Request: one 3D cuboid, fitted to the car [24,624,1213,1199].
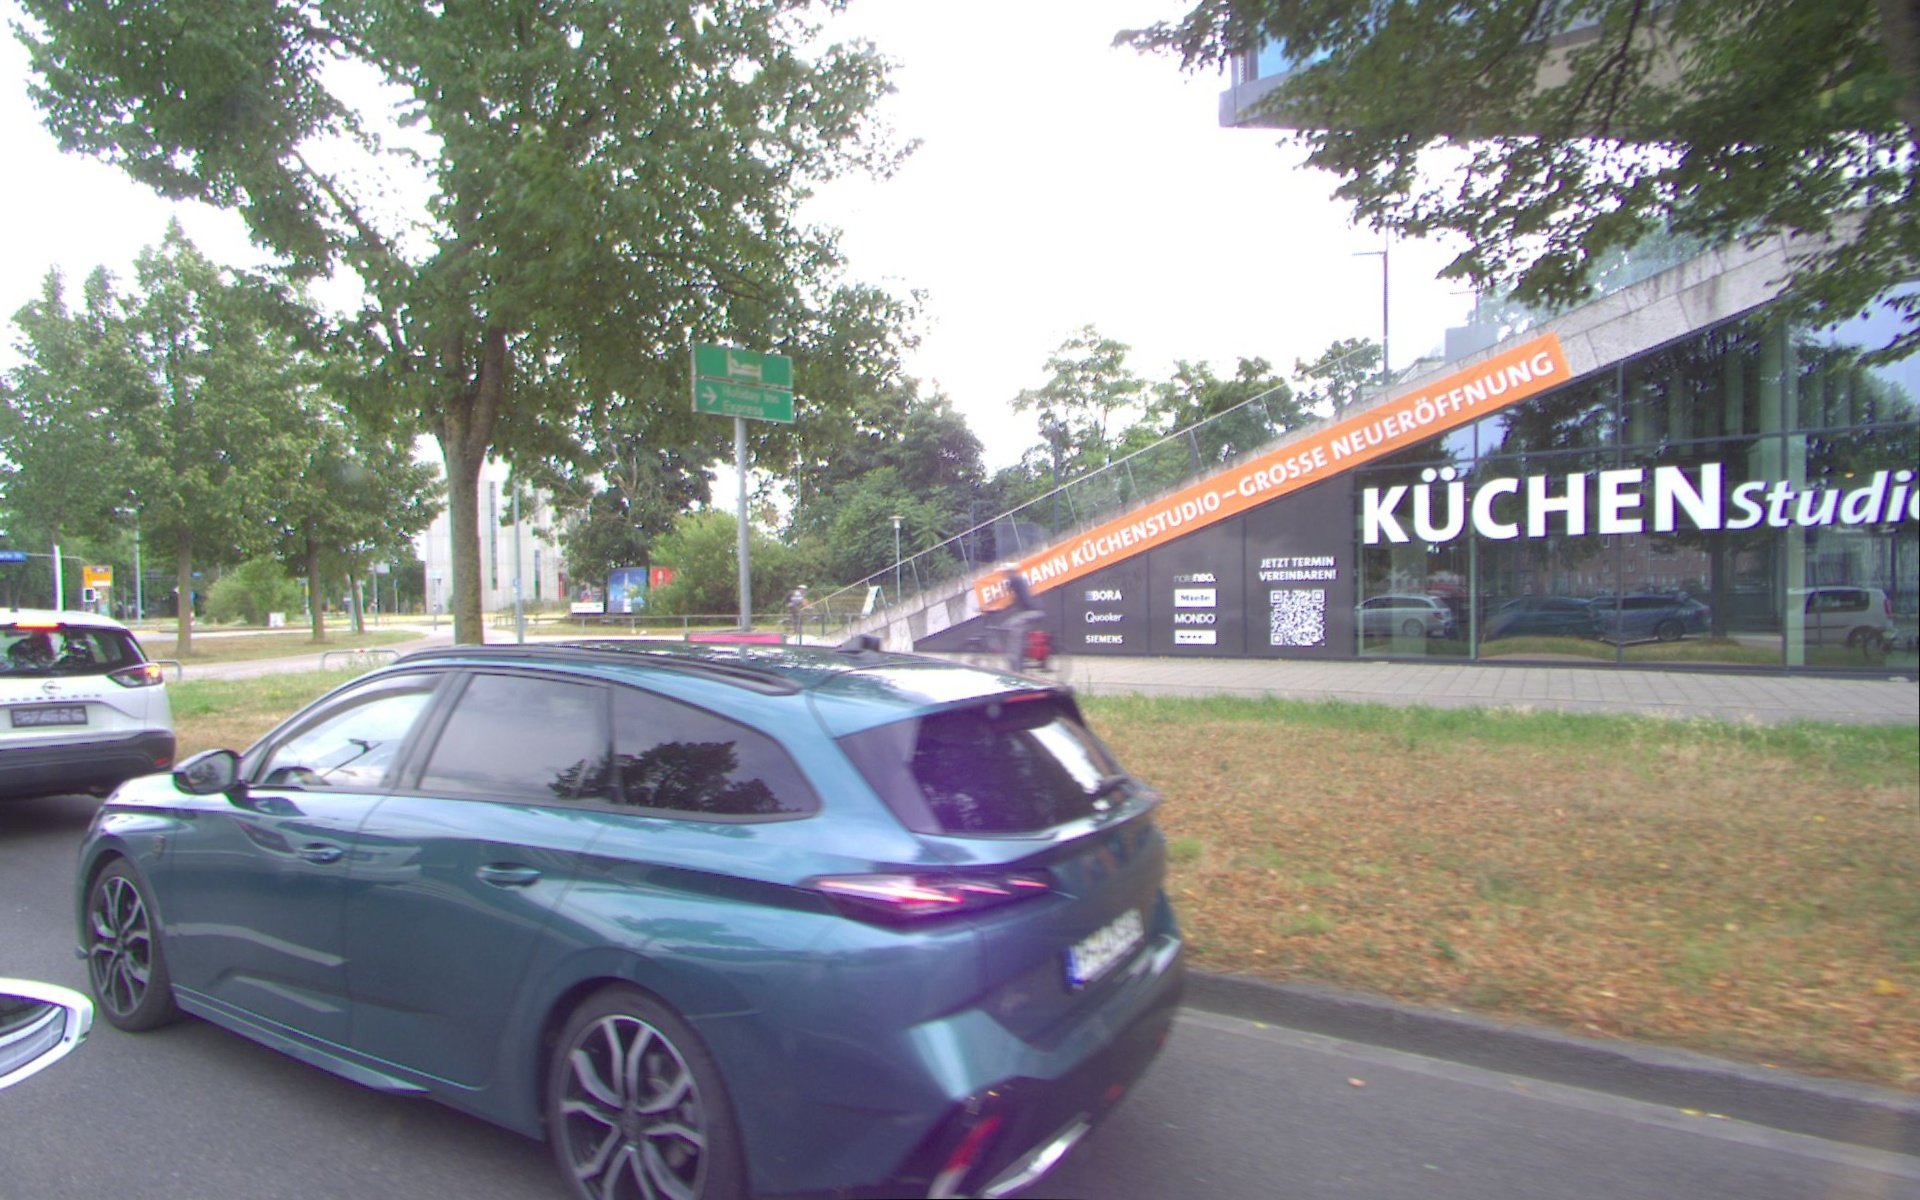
[{"bbox_3d":[-1.412,0.830,3.694,4.245,1.450,1.786,0,-1,29],"label":"car"}]

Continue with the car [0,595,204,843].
[{"bbox_3d":[-7.843,0.800,7.879,3.854,1.646,1.783,0,0,33],"label":"car"}]

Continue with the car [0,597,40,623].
[{"bbox_3d":[-63.538,0.671,67.543,4.352,1.658,1.774,0,0,42],"label":"car"}]

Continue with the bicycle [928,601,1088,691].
[{"bbox_3d":[0.700,0.647,14.971,2.234,1.251,0.900,0,0,31],"label":"bicycle"}]

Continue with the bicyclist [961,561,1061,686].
[{"bbox_3d":[0.773,0.324,14.919,1.113,1.761,0.994,0,3,31],"label":"bicyclist"}]

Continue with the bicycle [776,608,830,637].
[{"bbox_3d":[-5.716,0.826,36.503,1.904,0.997,0.564,-1,1,-13],"label":"bicycle"}]
